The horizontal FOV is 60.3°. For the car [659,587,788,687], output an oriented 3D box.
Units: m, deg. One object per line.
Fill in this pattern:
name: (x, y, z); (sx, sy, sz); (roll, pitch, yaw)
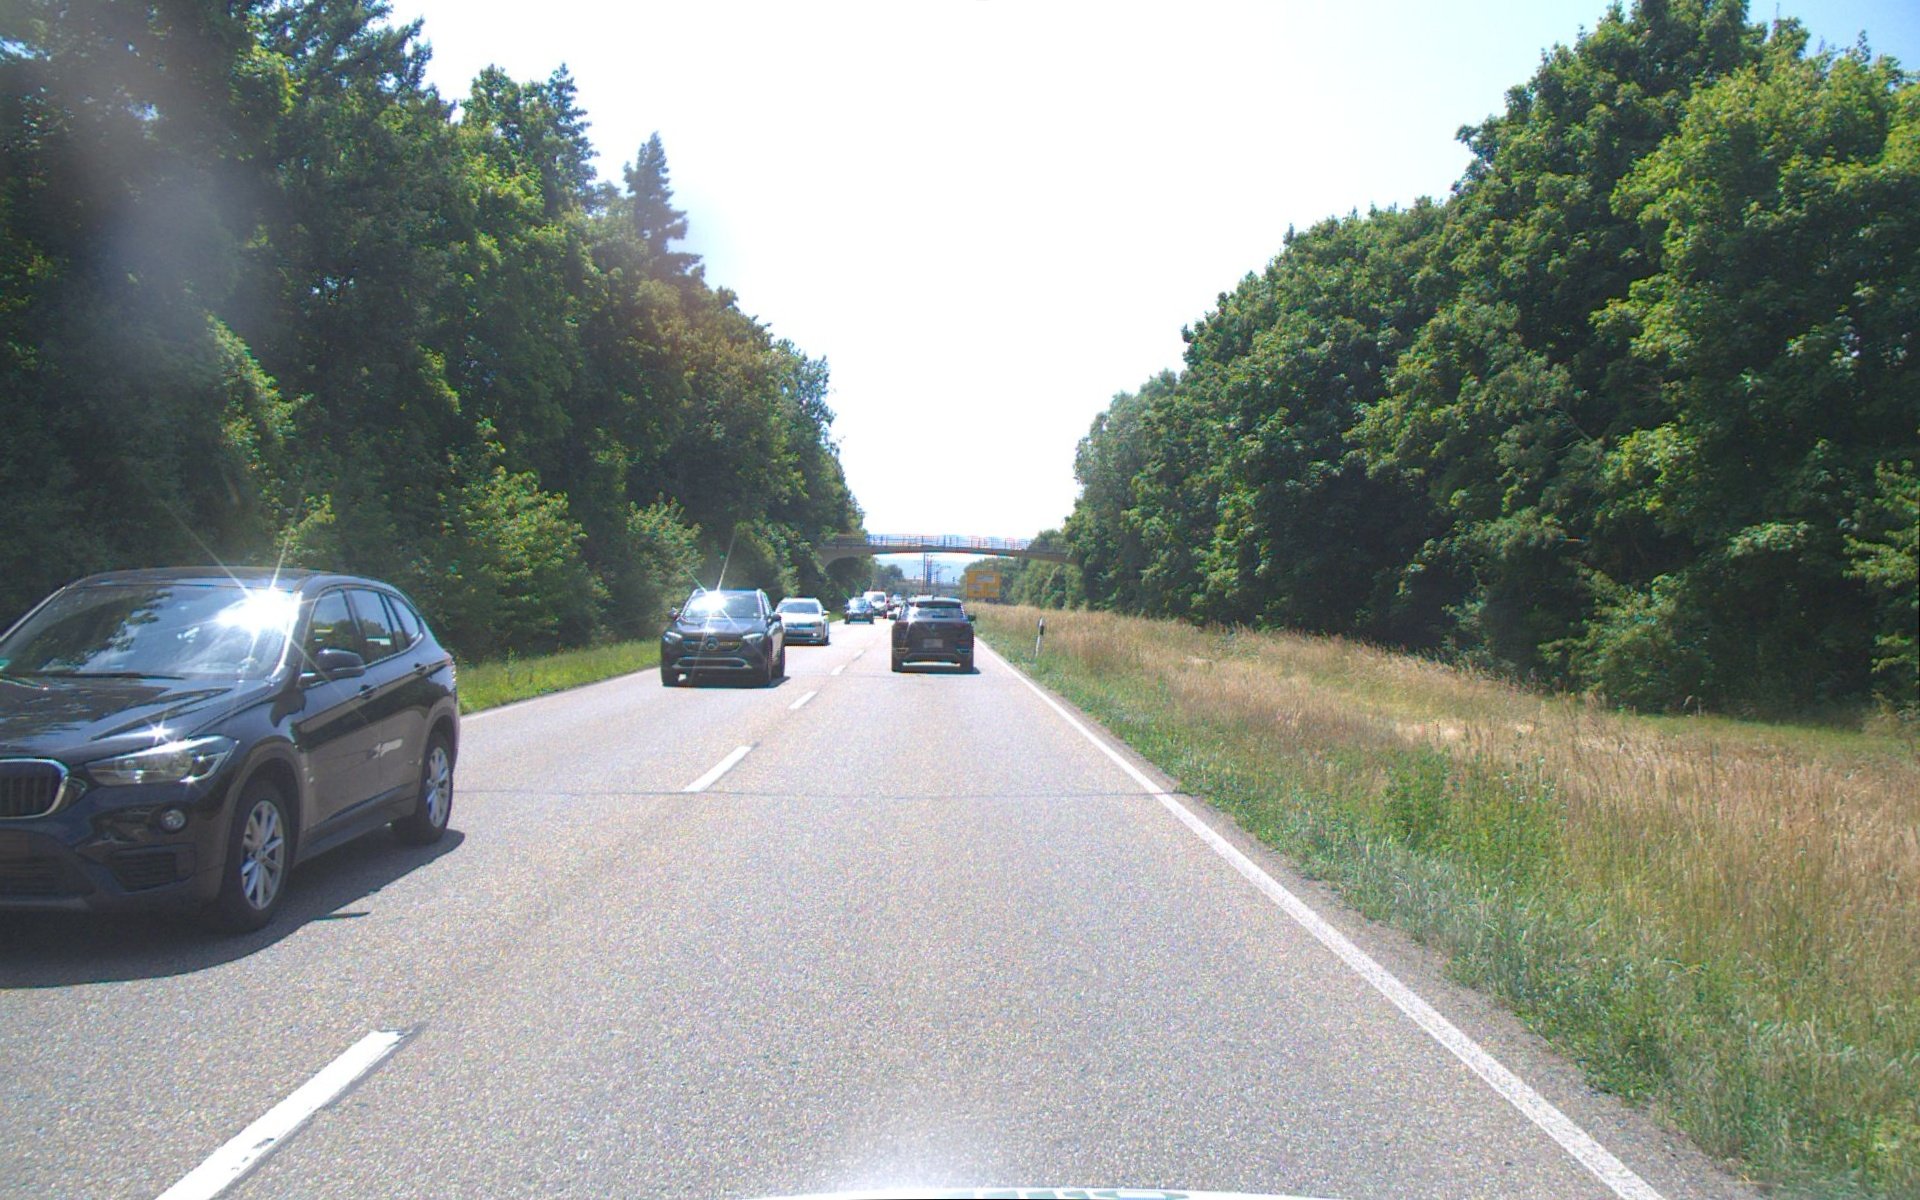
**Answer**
car: (-4.163, 0.607, 29.692); (1.828, 1.653, 4.199); (0, 0, -2)

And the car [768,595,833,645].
car: (-5.147, 0.620, 53.877); (1.802, 1.563, 4.656); (0, 0, -2)

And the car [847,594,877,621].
car: (-5.727, 0.451, 97.063); (1.638, 1.545, 3.998); (1, 0, -2)

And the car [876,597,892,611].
car: (-8.167, 0.446, 177.867); (1.648, 1.519, 3.999); (0, 0, -1)

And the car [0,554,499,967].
car: (-3.885, 0.641, 8.759); (1.716, 1.633, 4.440); (0, 0, -1)

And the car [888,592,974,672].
car: (-0.593, 0.662, 35.839); (1.719, 1.583, 4.000); (2, 0, 0)

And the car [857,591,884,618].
car: (-6.634, 0.324, 122.739); (1.837, 1.963, 4.986); (1, 0, -1)

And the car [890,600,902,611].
car: (-9.026, 0.748, 233.766); (1.643, 1.458, 3.772); (-1, 0, 0)
